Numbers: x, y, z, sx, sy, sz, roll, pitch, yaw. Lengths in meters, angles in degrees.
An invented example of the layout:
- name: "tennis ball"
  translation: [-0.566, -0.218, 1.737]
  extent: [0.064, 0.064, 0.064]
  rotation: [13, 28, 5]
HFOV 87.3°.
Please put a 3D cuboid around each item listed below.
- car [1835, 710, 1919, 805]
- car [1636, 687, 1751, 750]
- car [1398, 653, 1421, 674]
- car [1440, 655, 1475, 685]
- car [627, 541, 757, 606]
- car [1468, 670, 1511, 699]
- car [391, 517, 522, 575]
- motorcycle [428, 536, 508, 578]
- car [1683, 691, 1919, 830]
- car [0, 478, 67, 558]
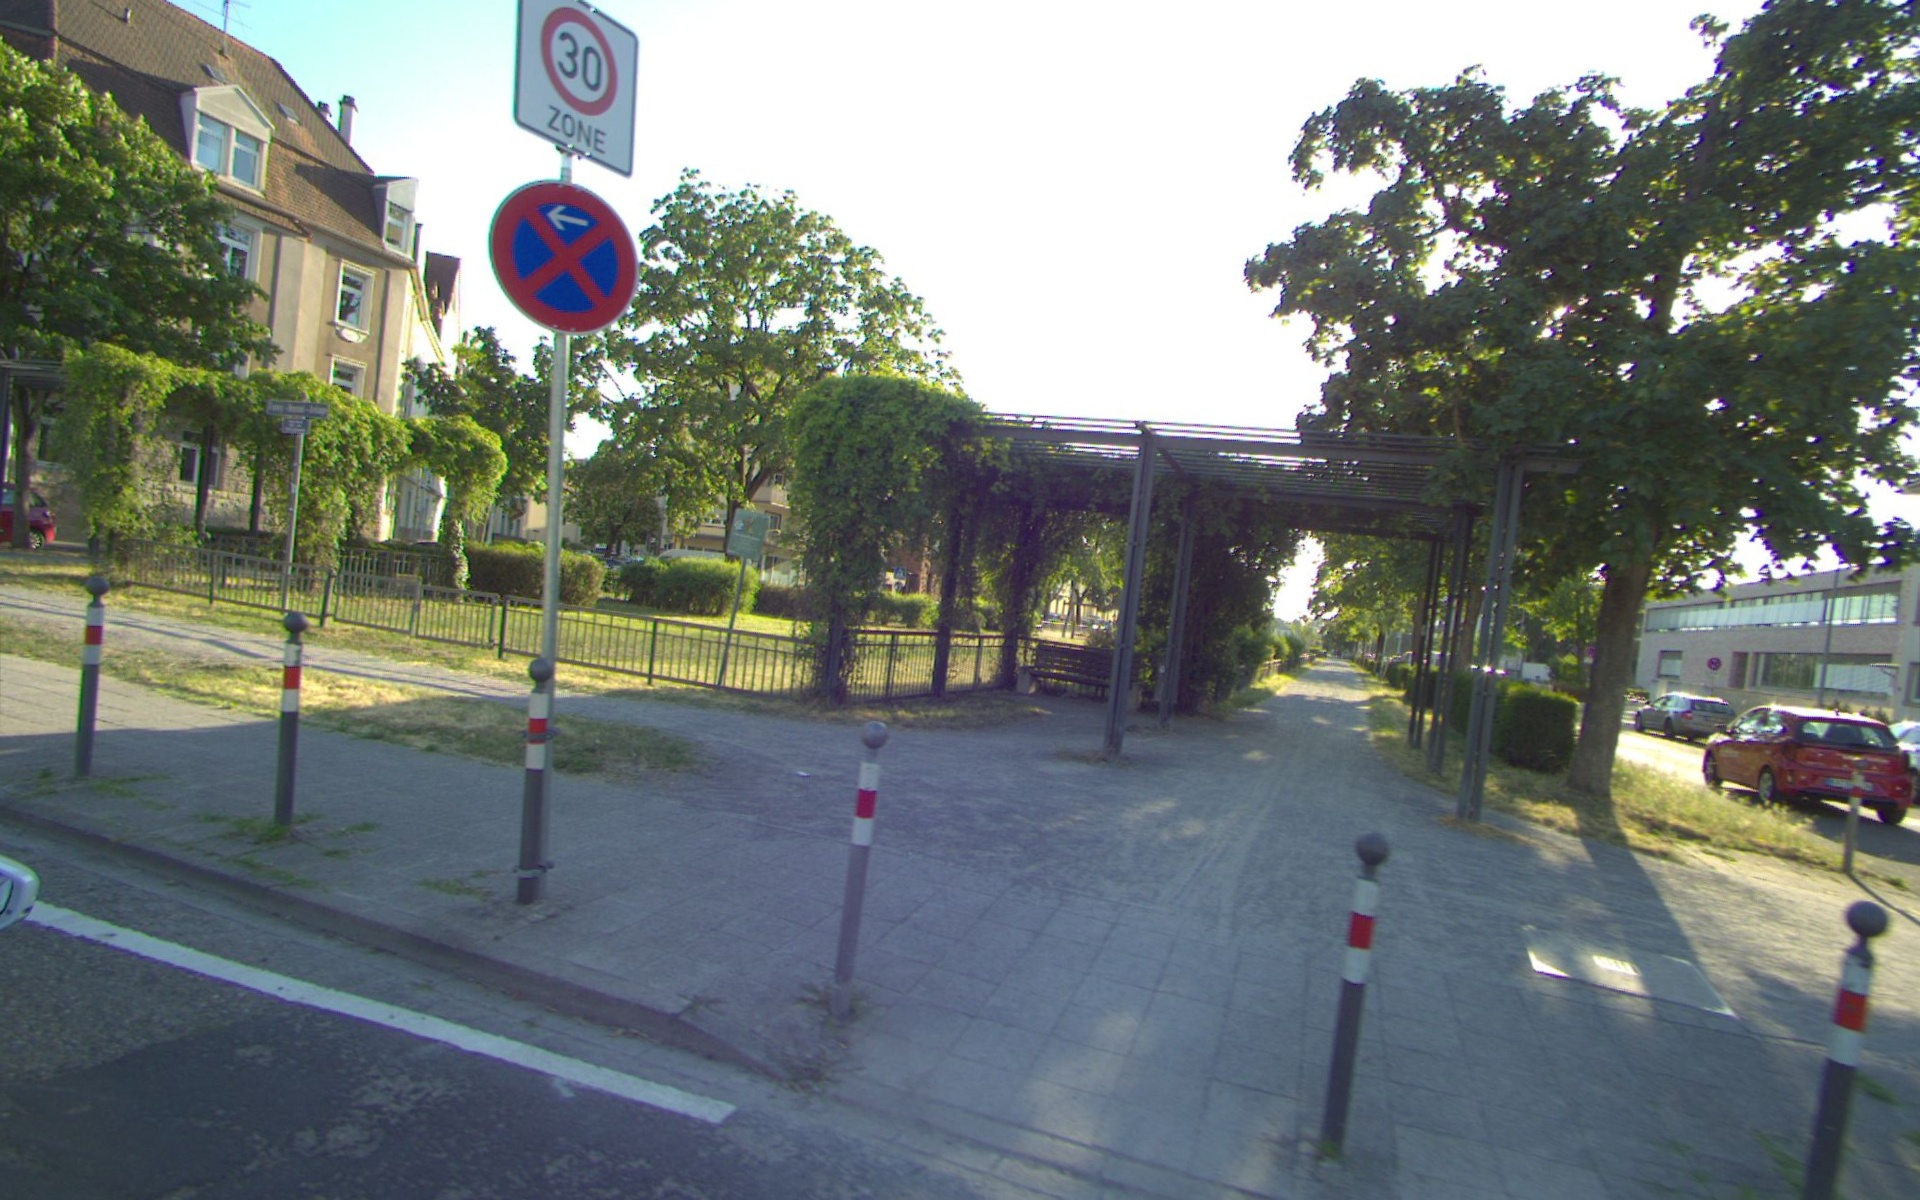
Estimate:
- name: "car"
  translation: [18.776, 3.097, 19.283]
  extent: [1.738, 1.544, 3.772]
  rotation: [6, -1, 22]
- name: "car"
  translation: [23.545, 3.765, 32.451]
  extent: [1.737, 1.544, 3.774]
  rotation: [6, -1, 17]
- name: "car"
  translation: [52.667, 7.395, 117.924]
  extent: [1.963, 2.150, 3.999]
  rotation: [7, 0, 21]
- name: "car"
  translation: [40.632, 5.681, 82.282]
  extent: [1.963, 2.150, 3.999]
  rotation: [7, 0, 21]
- name: "car"
  translation: [-14.957, -1.477, 56.578]
  extent: [6.575, 2.779, 2.314]
  rotation: [7, 1, -9]
- name: "car"
  translation: [34.472, 5.495, 65.616]
  extent: [1.729, 1.537, 3.760]
  rotation: [7, 0, 18]
- name: "car"
  translation: [-18.604, -1.964, 37.394]
  extent: [1.778, 1.552, 4.086]
  rotation: [8, 0, 22]
- name: "motorcycle"
  translation: [-21.955, -1.924, 44.899]
  extent: [3.169, 1.505, 0.854]
  rotation: [6, 0, 9]
- name: "car"
  translation: [12.986, 2.354, 15.594]
  extent: [1.738, 1.544, 3.773]
  rotation: [6, -1, 19]
- name: "car"
  translation: [-24.193, -2.156, 23.830]
  extent: [1.778, 1.762, 4.086]
  rotation: [9, 1, 22]
